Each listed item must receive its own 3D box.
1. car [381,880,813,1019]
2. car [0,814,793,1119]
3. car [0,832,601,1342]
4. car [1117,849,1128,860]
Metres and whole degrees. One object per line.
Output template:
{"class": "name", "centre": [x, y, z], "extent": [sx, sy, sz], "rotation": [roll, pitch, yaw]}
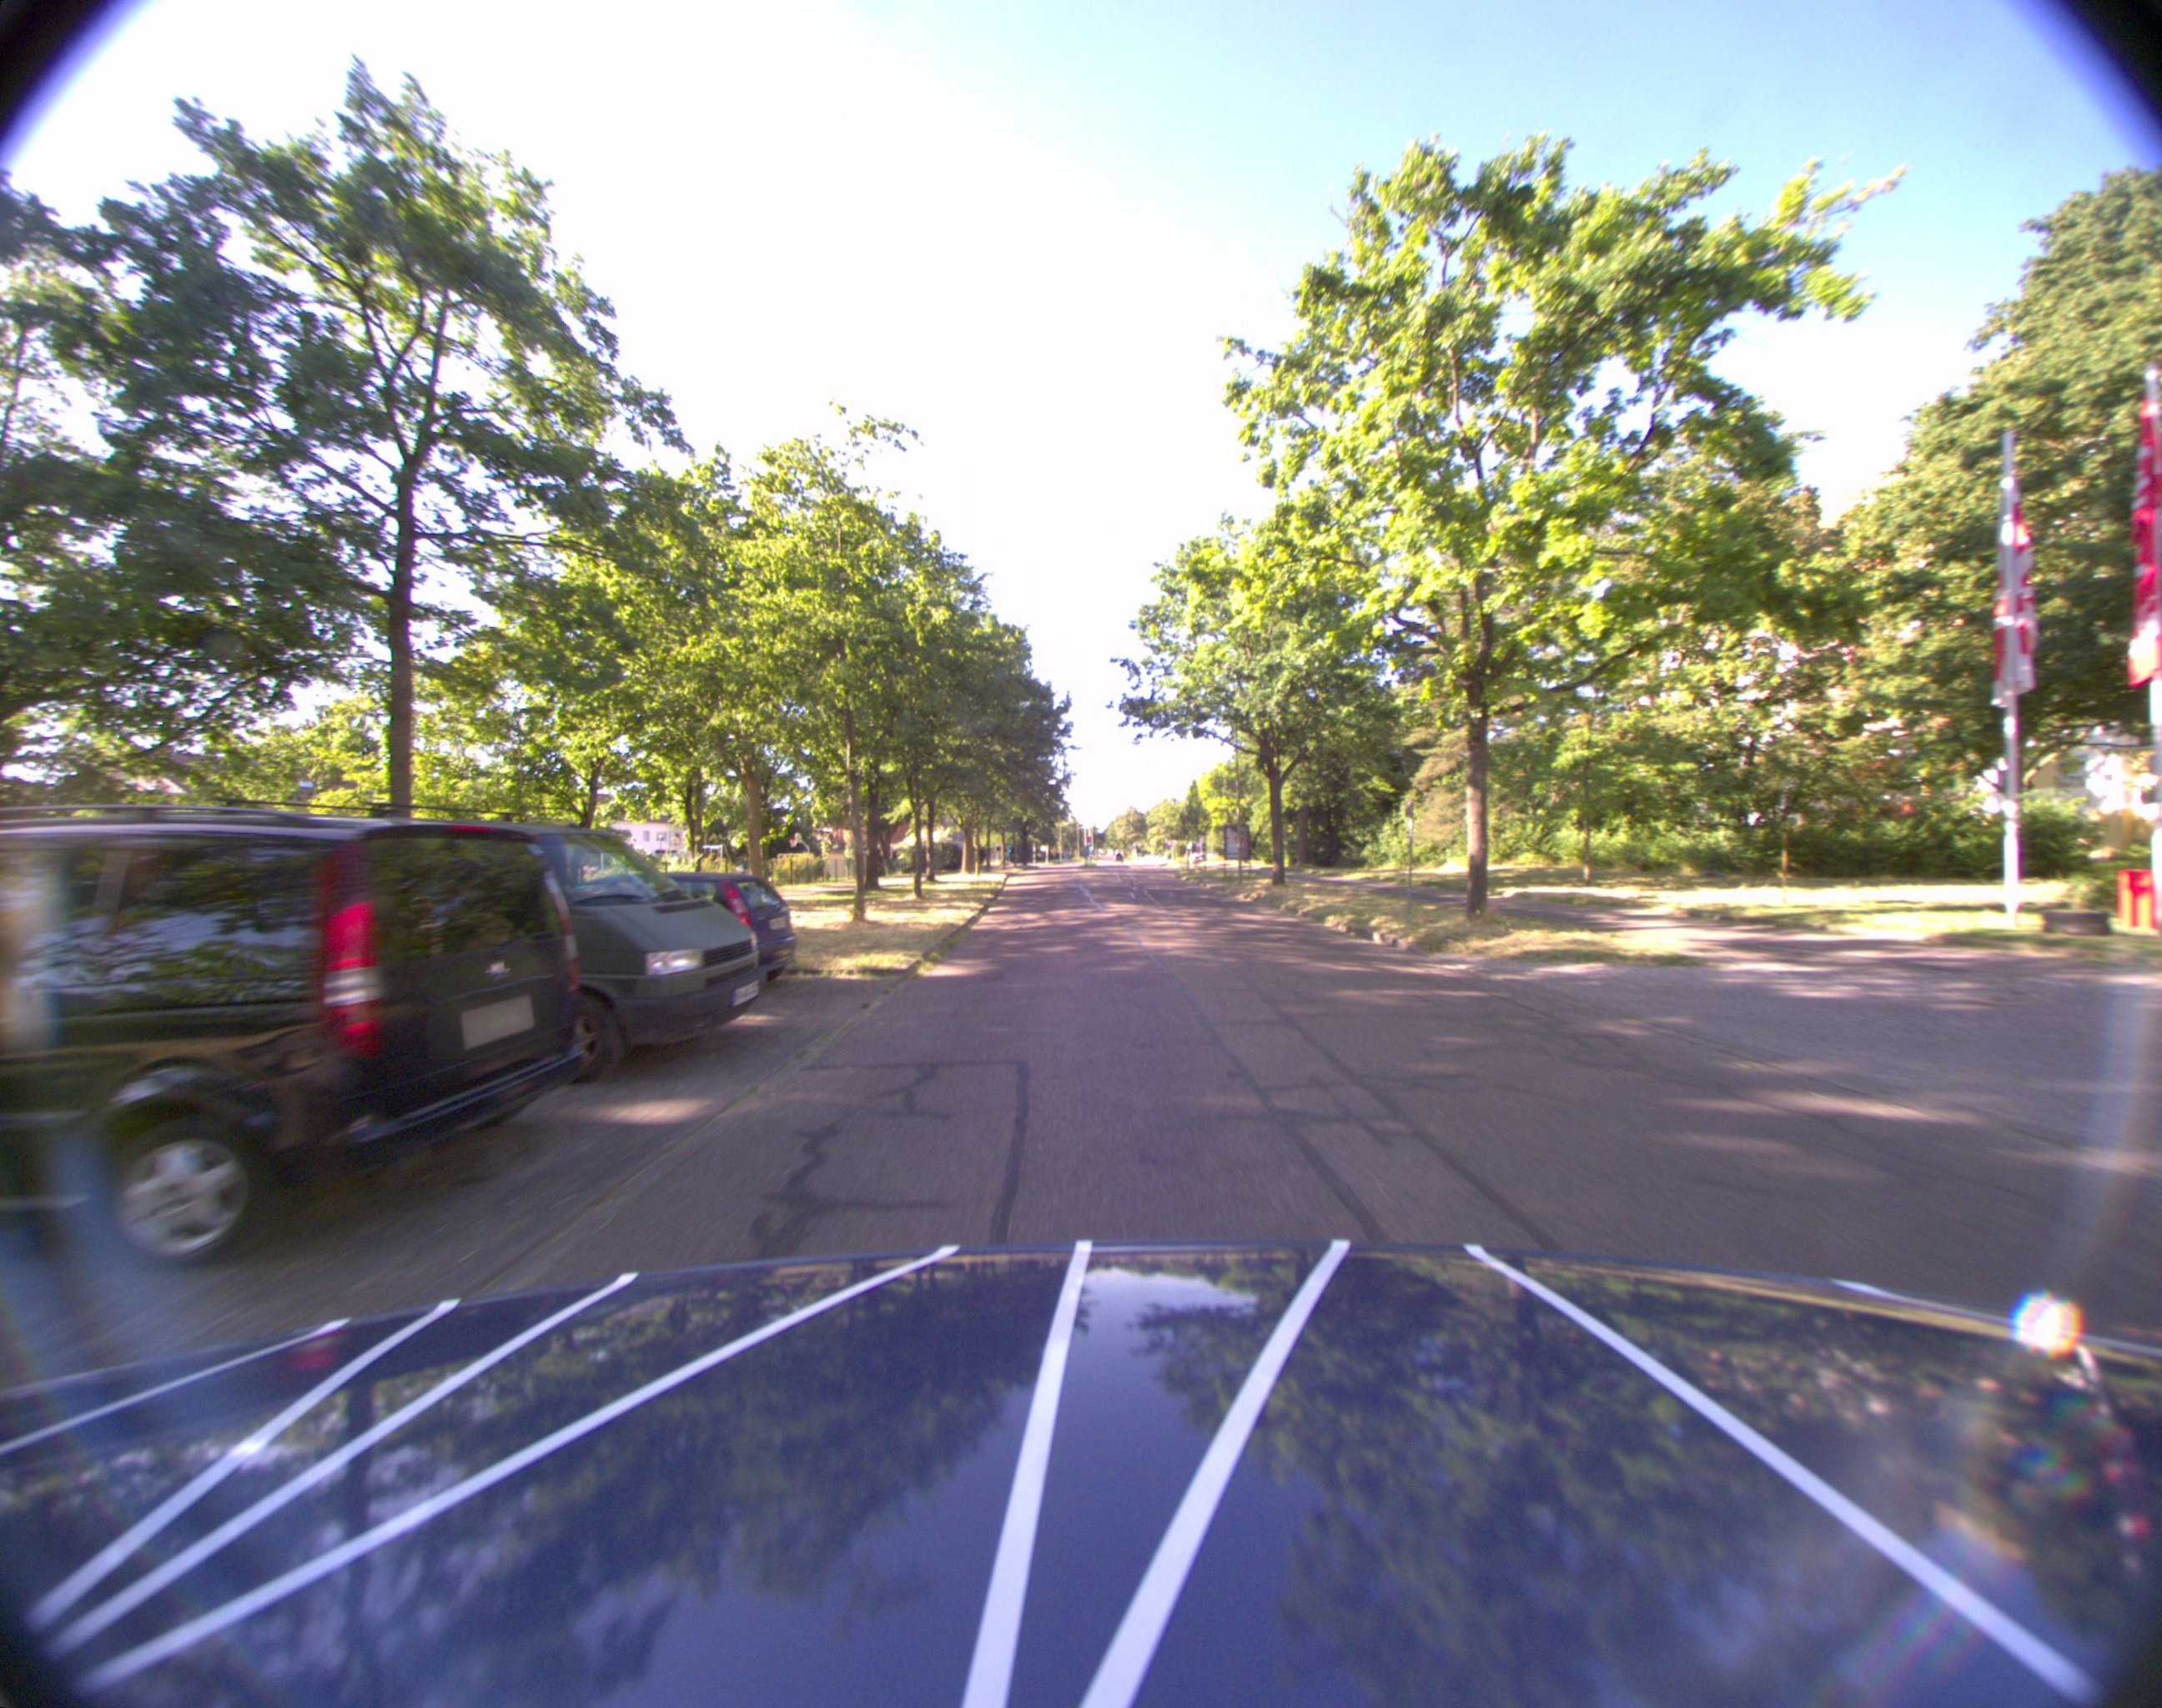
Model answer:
{"class": "car", "centre": [-5.506, 1.053, 9.041], "extent": [3.998, 1.395, 1.739], "rotation": [-1, 0, 0]}
{"class": "car", "centre": [-5.109, 0.758, 6.117], "extent": [4.815, 2.020, 1.944], "rotation": [-1, 0, 0]}
{"class": "car", "centre": [-4.854, 0.831, 3.562], "extent": [4.020, 1.826, 1.799], "rotation": [0, 1, -3]}
{"class": "car", "centre": [7.882, 0.067, 143.697], "extent": [1.904, 2.082, 3.641], "rotation": [0, 0, 1]}
